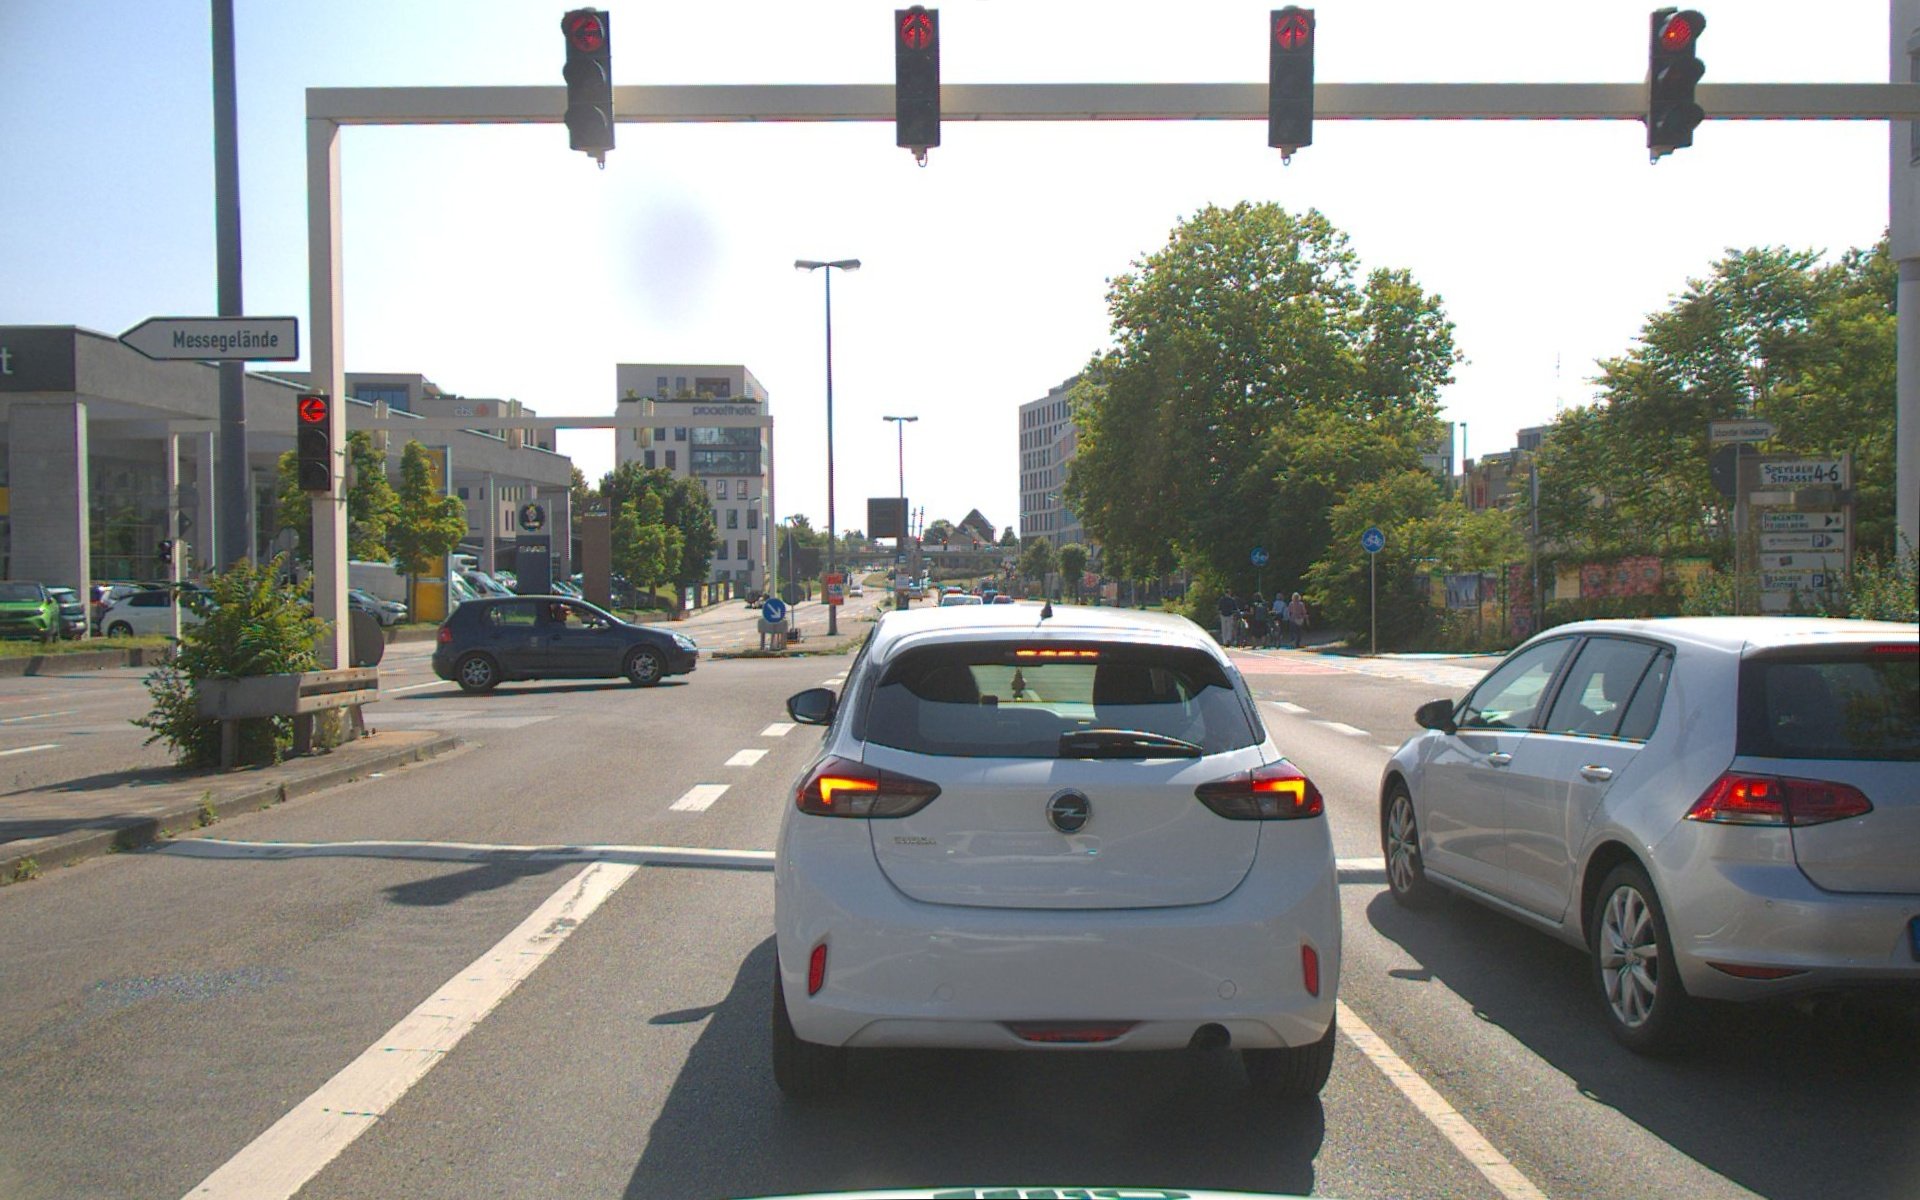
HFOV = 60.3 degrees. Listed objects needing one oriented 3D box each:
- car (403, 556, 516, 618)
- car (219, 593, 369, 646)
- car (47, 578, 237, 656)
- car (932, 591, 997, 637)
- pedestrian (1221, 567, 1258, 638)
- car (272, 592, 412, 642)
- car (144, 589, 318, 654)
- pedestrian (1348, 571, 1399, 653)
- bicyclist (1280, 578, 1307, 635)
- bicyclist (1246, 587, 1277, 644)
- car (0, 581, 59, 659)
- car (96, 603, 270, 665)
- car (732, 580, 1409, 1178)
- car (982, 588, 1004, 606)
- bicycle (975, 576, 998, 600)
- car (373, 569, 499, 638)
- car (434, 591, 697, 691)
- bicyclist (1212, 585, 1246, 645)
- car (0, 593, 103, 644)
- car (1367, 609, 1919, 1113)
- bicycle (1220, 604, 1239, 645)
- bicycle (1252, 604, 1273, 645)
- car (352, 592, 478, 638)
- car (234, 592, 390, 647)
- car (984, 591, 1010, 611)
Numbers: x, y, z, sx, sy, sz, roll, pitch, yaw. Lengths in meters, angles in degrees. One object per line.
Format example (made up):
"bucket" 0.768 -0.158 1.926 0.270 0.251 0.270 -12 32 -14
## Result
"car" -21.979 -0.579 72.714 4.265 2.646 2.001 -1 0 4
"car" -22.475 0.644 55.955 4.270 1.726 1.999 -1 0 -4
"car" -20.630 0.406 41.851 3.793 1.870 1.999 -1 0 -4
"car" 0.114 0.442 52.046 1.953 1.355 3.999 1 -1 -1
"pedestrian" 9.097 0.093 53.839 1.006 2.278 1.038 0 0 -1
"car" -22.056 0.586 59.177 4.270 1.726 1.999 -1 0 -4
"car" -21.383 0.614 48.627 4.211 1.796 1.999 -1 0 -4
"pedestrian" 10.472 0.291 41.874 1.006 2.049 1.038 0 0 -1
"bicyclist" 9.960 0.194 49.402 0.639 1.666 0.659 1 -1 -1
"bicyclist" 8.877 0.454 48.709 0.675 1.672 0.775 0 0 -9
"car" -22.555 0.496 38.951 1.887 1.764 3.250 -1 -1 -37
"car" -21.495 0.932 45.912 3.912 1.627 1.997 -1 0 -8
"car" 0.255 0.709 6.275 1.743 1.520 3.999 -1 0 -1
"car" 2.803 -0.259 140.790 1.769 1.410 3.999 1 -1 -1
"bicycle" 2.493 -1.082 155.489 1.953 2.195 3.999 -1 0 -1
"car" -21.334 0.144 67.441 4.401 2.731 2.130 -1 0 8
"car" -6.211 0.618 26.378 3.916 1.467 1.994 -1 0 -12
"bicyclist" 8.184 0.454 50.293 0.861 1.803 0.863 0 0 -1
"car" -26.259 0.538 45.530 4.276 1.290 1.996 -2 -1 -9
"car" 3.142 0.777 6.888 1.771 1.454 3.998 -1 0 -2
"bicycle" 8.194 0.731 50.277 0.365 1.238 1.153 1 0 -1
"bicycle" 8.914 0.714 48.676 0.366 1.167 1.034 1 -1 -3
"car" -21.381 0.563 64.988 4.265 1.726 2.001 -1 0 4
"car" -21.012 0.618 53.770 4.270 1.726 1.999 0 0 -3
"car" 2.750 0.068 123.338 1.769 1.410 3.999 1 -1 -1
